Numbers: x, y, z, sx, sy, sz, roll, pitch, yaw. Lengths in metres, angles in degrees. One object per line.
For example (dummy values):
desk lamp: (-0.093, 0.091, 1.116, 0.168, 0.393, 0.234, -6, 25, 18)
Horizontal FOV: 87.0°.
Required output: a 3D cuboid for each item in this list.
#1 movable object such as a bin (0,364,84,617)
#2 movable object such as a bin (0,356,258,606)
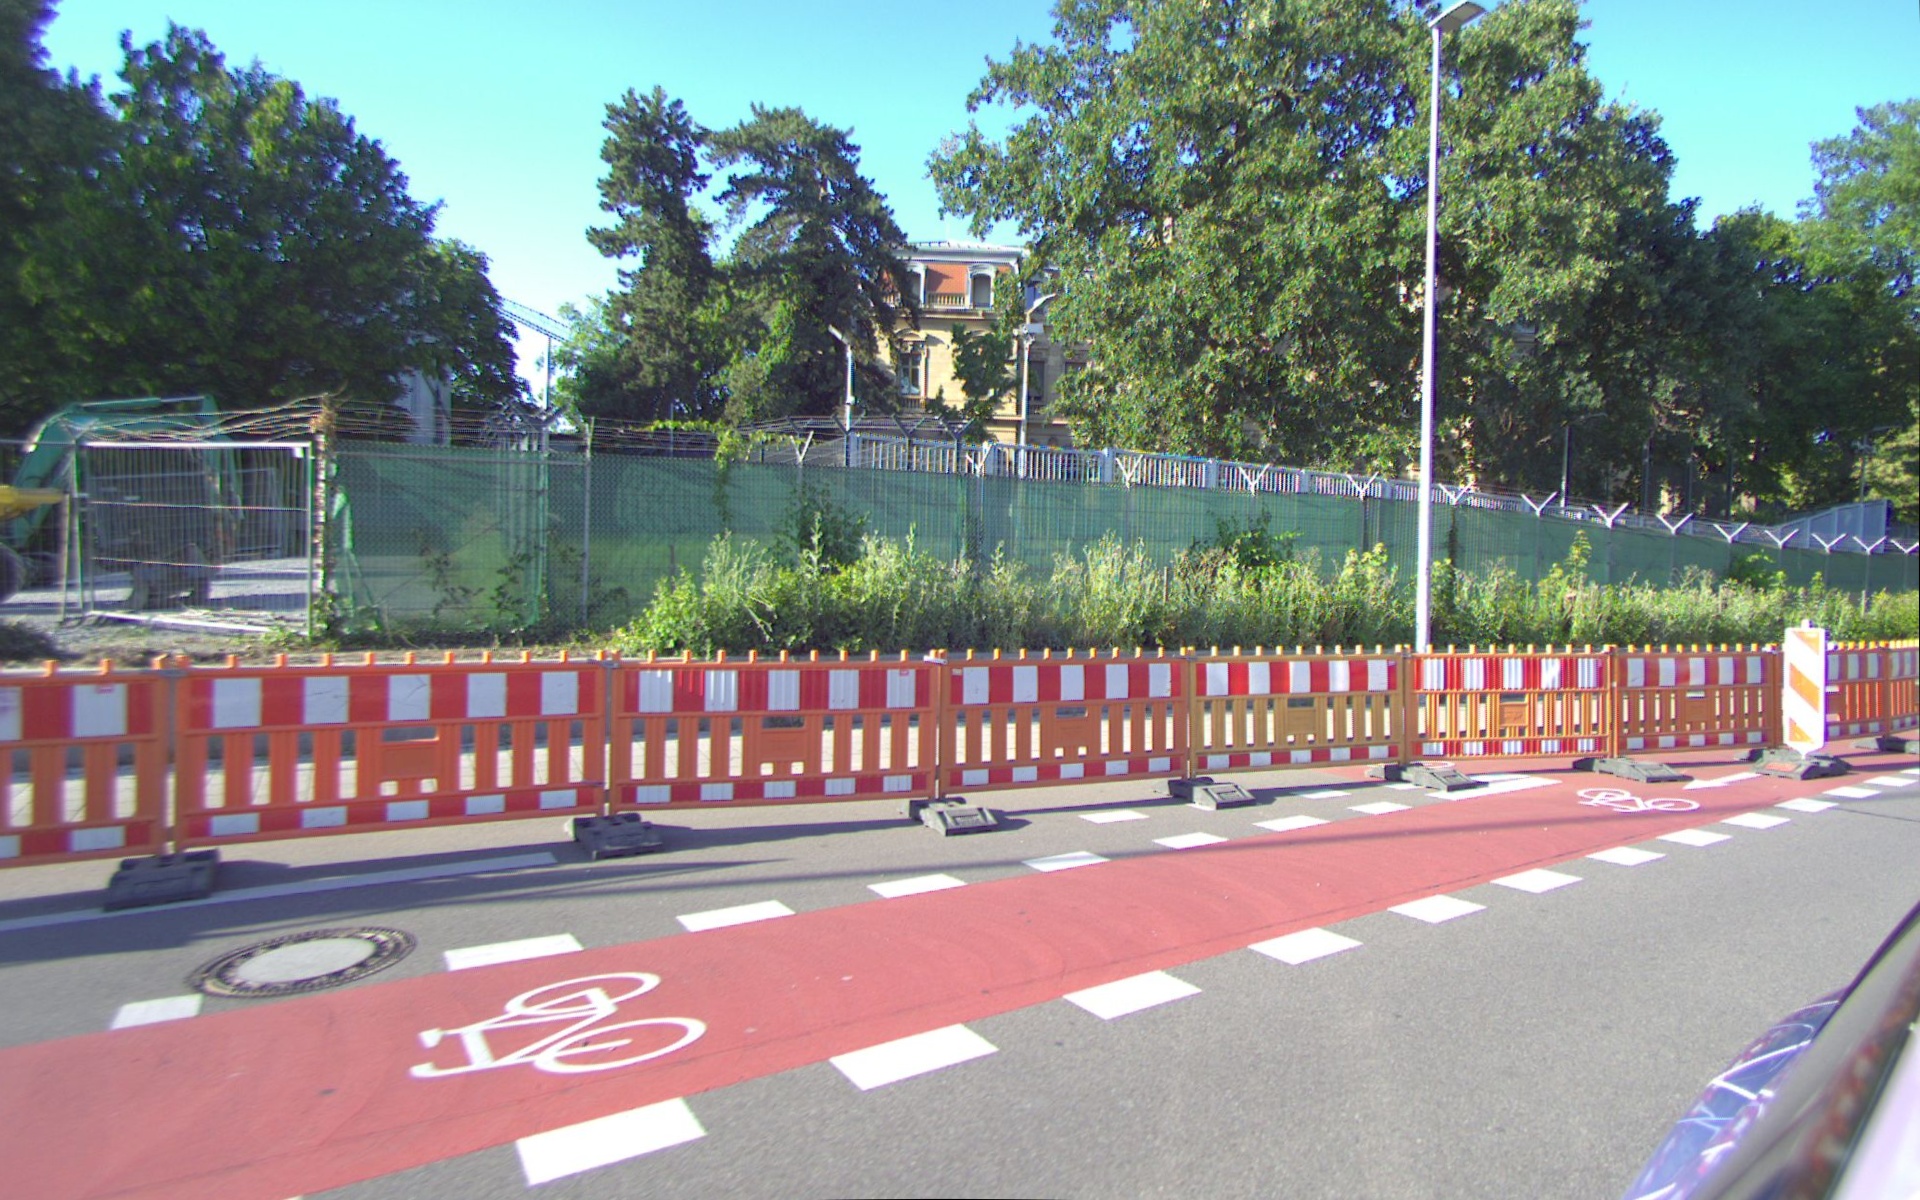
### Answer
movable object such as a bin: (-13.194, -1.320, 11.938, 3.917, 2.940, 2.004, 1, 1, -26)
movable object such as a bin: (-14.341, -1.760, 15.725, 5.387, 3.601, 2.287, 0, 1, -29)
